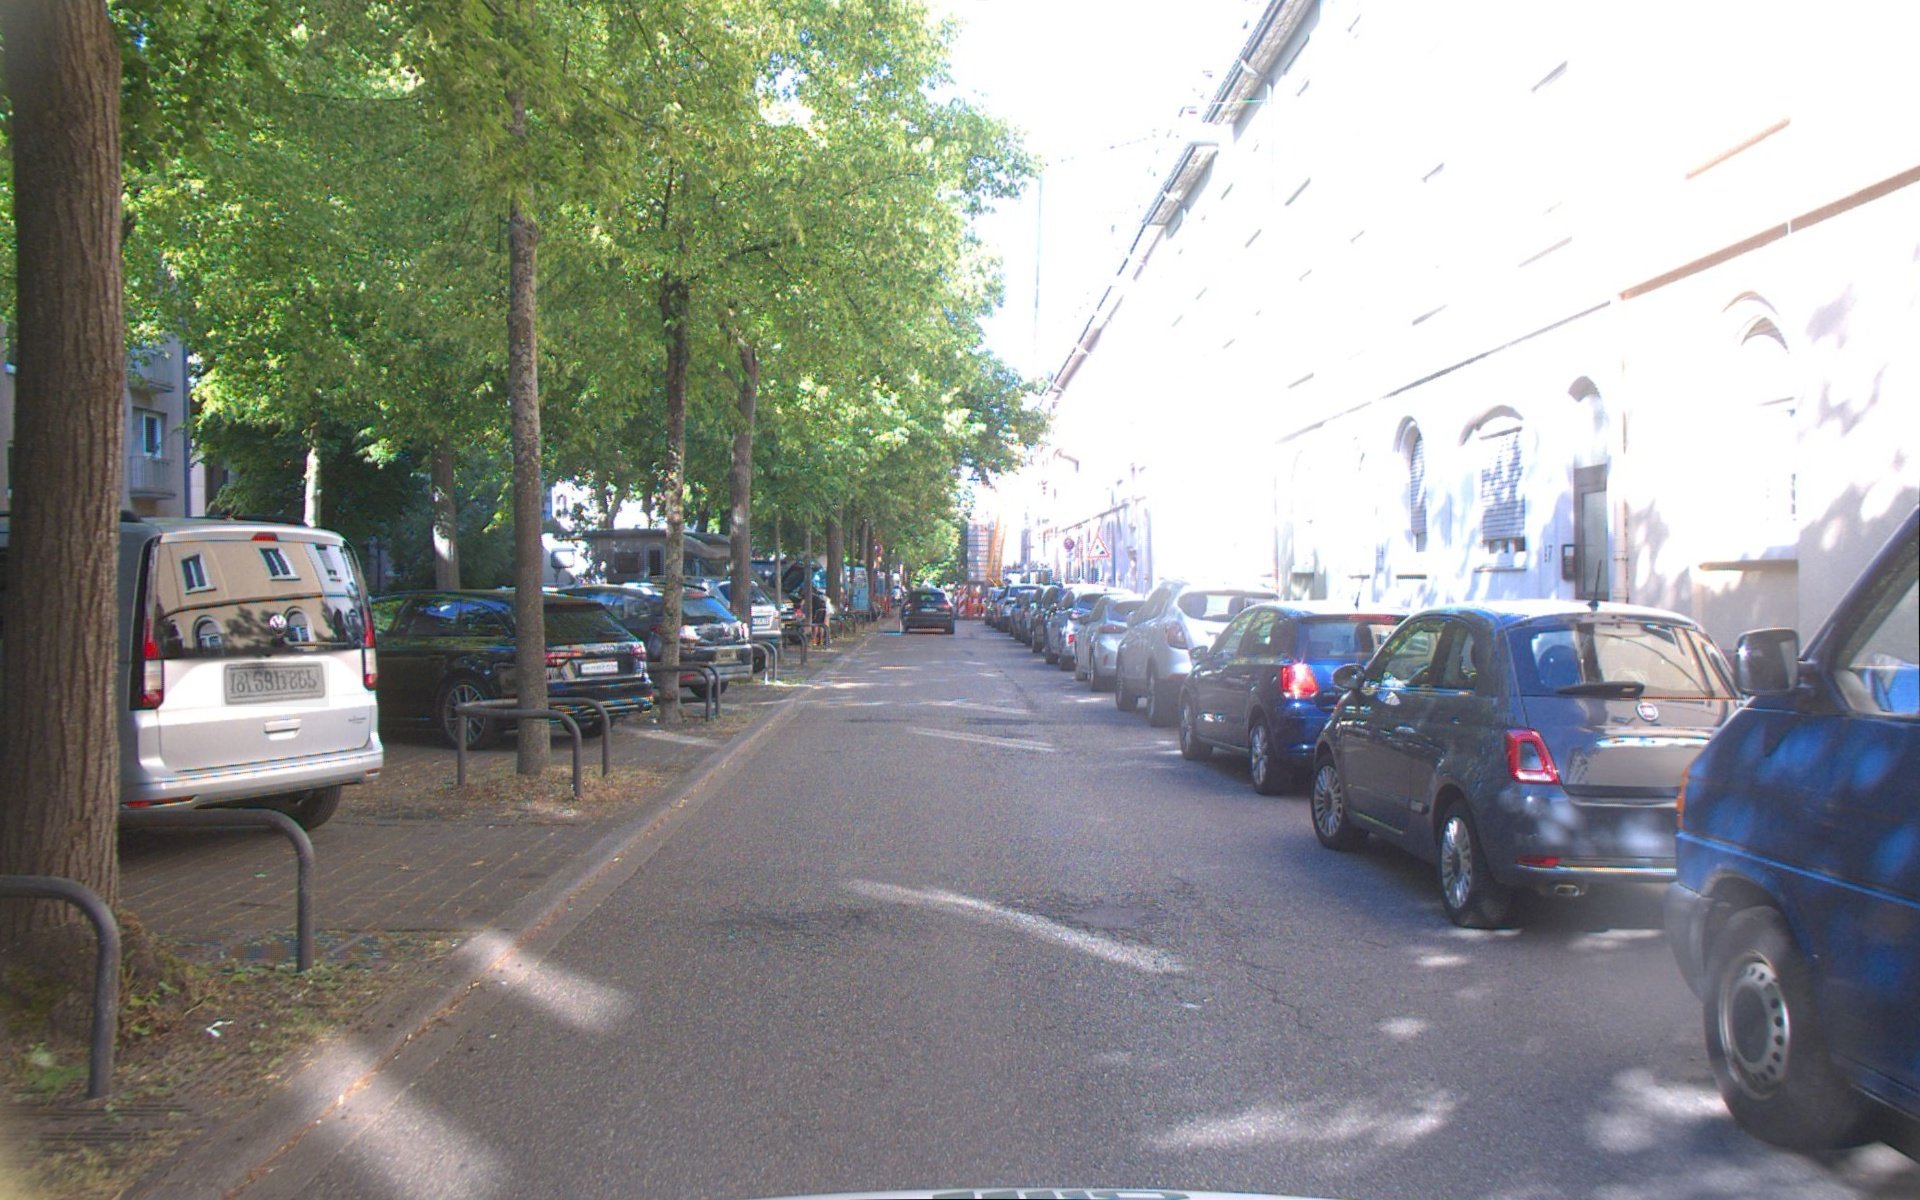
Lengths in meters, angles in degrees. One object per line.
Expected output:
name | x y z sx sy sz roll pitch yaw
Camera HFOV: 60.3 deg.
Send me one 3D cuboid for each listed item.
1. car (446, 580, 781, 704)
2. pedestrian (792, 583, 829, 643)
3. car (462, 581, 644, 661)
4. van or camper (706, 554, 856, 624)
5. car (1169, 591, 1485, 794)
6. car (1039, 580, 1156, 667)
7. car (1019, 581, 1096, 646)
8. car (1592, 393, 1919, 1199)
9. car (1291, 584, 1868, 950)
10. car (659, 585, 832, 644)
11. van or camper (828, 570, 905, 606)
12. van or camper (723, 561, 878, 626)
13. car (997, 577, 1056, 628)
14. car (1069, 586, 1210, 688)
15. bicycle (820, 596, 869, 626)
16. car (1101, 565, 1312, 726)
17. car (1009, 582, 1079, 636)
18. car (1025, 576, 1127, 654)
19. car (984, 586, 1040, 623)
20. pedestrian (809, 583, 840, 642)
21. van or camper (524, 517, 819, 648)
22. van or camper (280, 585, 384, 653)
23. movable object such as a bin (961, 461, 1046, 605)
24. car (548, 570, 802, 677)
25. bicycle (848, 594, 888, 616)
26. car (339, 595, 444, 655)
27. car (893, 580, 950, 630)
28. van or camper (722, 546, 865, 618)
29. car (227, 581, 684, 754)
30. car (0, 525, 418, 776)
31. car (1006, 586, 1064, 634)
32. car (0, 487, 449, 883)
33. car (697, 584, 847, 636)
car | -4.584 0.510 21.679 4.329 1.487 1.712 0 0 32
pedestrian | -3.779 0.331 41.843 0.695 1.481 0.596 -1 0 22
car | -8.431 0.427 34.201 3.469 1.533 1.753 -1 1 33
van or camper | -7.268 -0.444 66.900 5.756 2.683 2.252 -1 1 29
car | 2.913 0.654 13.929 1.519 1.418 3.857 -1 1 -5
car | 2.602 0.399 32.108 1.688 1.555 4.156 -1 1 -3
car | 2.472 0.308 42.519 1.598 1.561 3.591 -1 1 -3
car | 3.184 0.480 3.323 1.909 1.934 4.845 -1 1 -1
car | 3.029 0.695 8.899 1.589 1.524 3.593 -1 1 -3
car | -5.588 0.368 43.018 4.230 1.449 1.674 -1 1 26
van or camper | -6.878 -0.856 121.692 5.234 2.518 2.289 -1 1 31
van or camper | -6.043 -0.260 62.678 5.386 2.315 2.220 -1 1 23
car | 2.269 0.057 57.699 1.779 1.703 4.672 -1 1 -1
car | 2.775 0.526 26.357 1.687 1.457 4.157 -1 1 -1
bicycle | -4.125 0.382 59.043 1.702 1.023 0.506 -2 0 -32
car | 2.850 0.463 19.988 1.688 1.715 4.155 -1 1 -3
car | 2.368 0.229 47.293 1.598 1.437 4.087 -1 1 -3
car | 2.559 0.291 37.359 1.688 1.624 4.155 -1 1 -4
car | 2.079 0.168 67.360 1.953 1.434 4.499 0 1 -2
pedestrian | -3.487 0.316 42.493 0.602 1.481 0.519 -1 0 22
van or camper | -7.120 -0.386 40.551 7.083 2.980 2.312 -1 1 26
van or camper | -15.733 0.450 41.546 1.564 1.582 2.697 -1 1 -1
movable object such as a bin | 2.139 -3.210 81.002 3.415 6.877 2.363 0 0 31
car | -4.893 0.378 28.329 4.054 1.708 1.757 -1 1 28
bicycle | -4.300 0.244 77.307 1.858 1.024 0.430 -1 0 23
car | -15.787 0.658 46.098 1.630 1.525 3.769 -1 1 -1
car | -1.280 0.132 54.360 1.761 1.530 3.584 -1 1 -2
van or camper | -8.056 -0.849 79.987 6.527 3.297 2.493 -1 1 28
car | -4.976 0.589 16.142 4.392 1.481 1.784 -1 1 31
car | -7.083 0.412 14.264 4.503 1.864 2.016 -1 0 28
car | 2.338 0.293 52.292 1.585 1.437 3.787 -1 1 -1
car | -5.472 0.400 9.782 4.418 1.897 2.080 0 0 24
car | -5.704 0.301 50.083 4.393 1.468 1.728 -1 1 32
